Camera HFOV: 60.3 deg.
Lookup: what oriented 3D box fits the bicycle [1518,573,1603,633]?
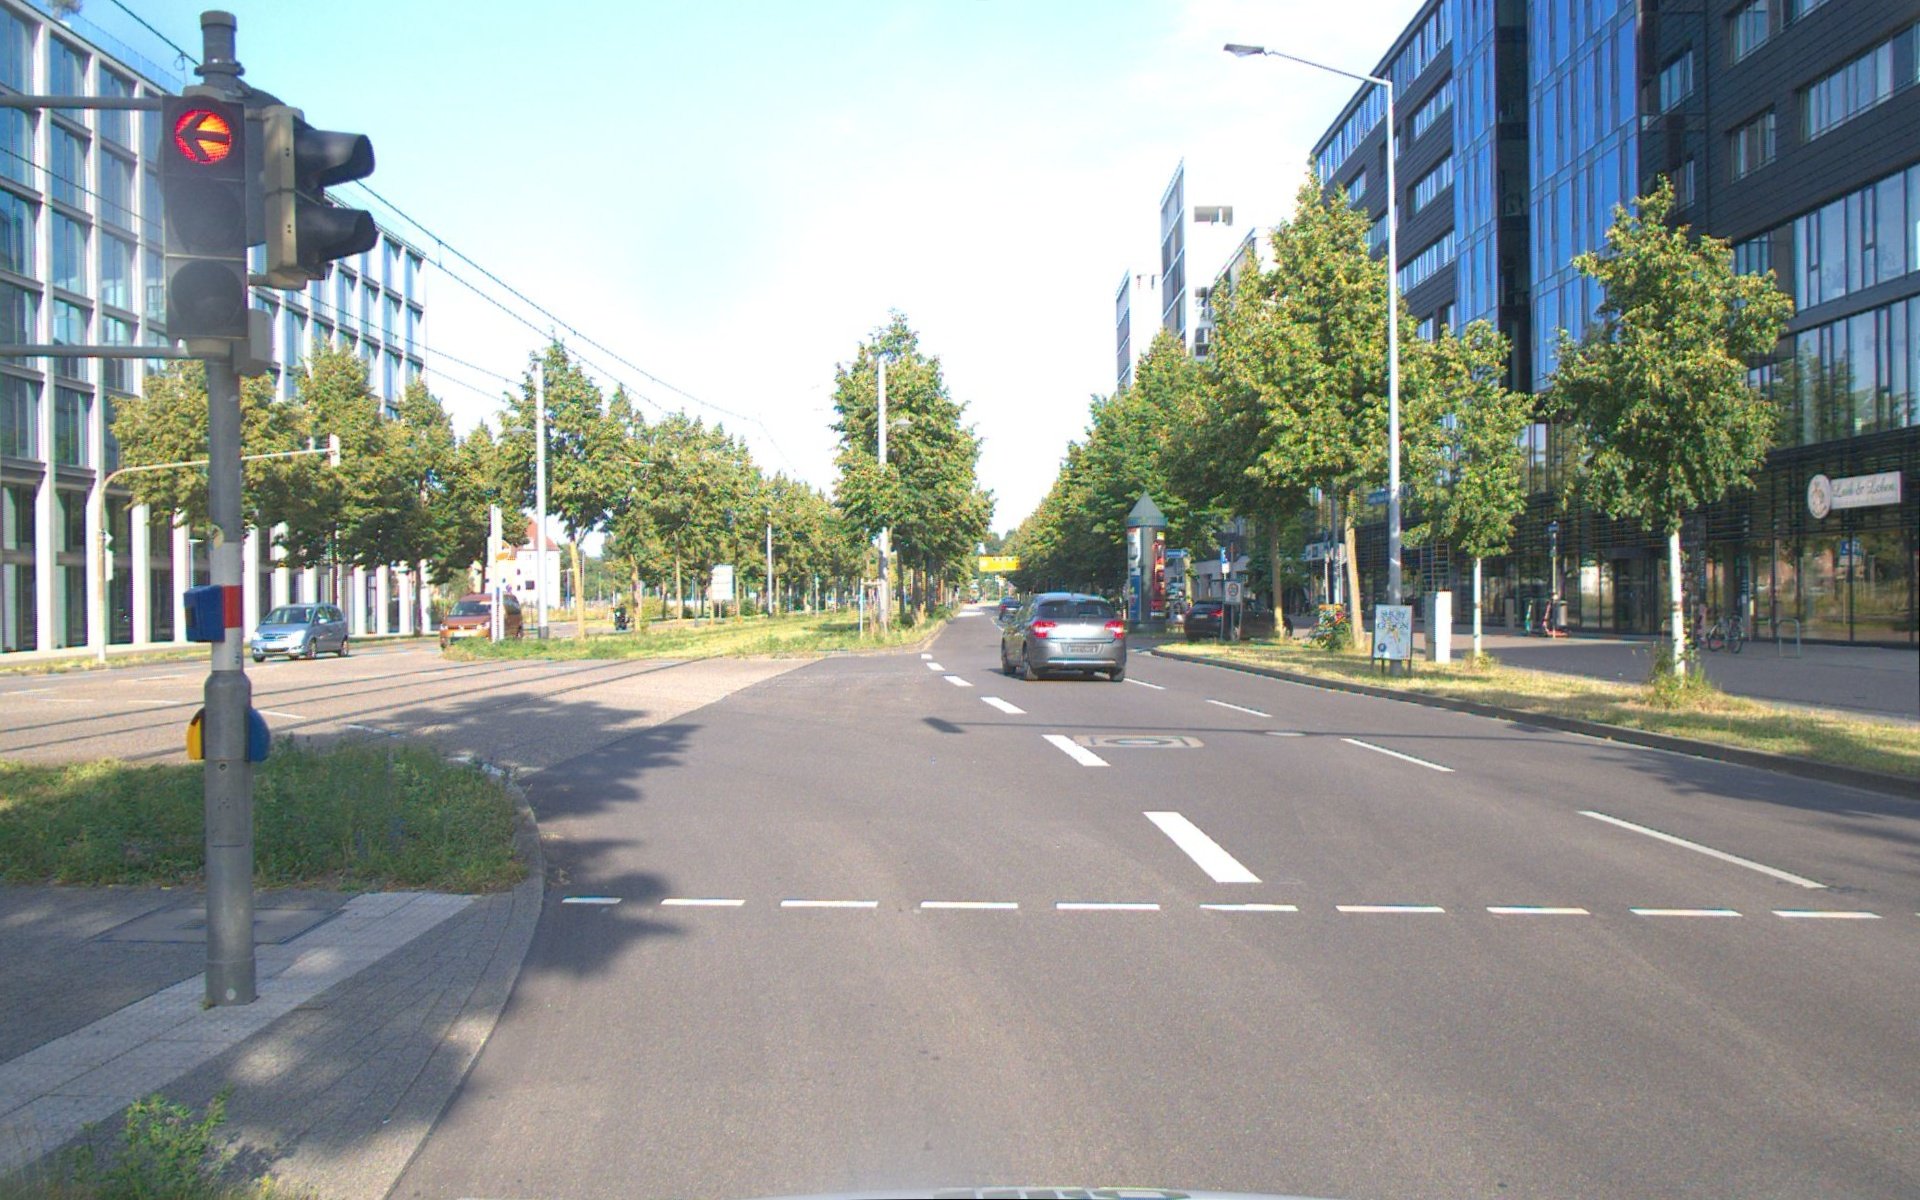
[{"bbox_3d":[19.501,0.104,53.734,2.510,1.890,0.570,1,-1,10],"label":"bicycle"}]

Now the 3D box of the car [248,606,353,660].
[{"bbox_3d":[-18.931,0.909,47.662,1.606,1.468,3.953,1,0,-3],"label":"car"}]

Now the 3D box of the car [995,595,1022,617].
[{"bbox_3d":[3.553,0.464,121.556,1.821,1.551,3.785,1,0,0],"label":"car"}]

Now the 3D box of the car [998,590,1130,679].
[{"bbox_3d":[1.773,0.577,29.363,1.662,1.449,4.034,1,0,-6],"label":"car"}]

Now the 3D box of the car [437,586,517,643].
[{"bbox_3d":[-15.788,0.466,54.274,1.650,1.806,3.880,1,0,-3],"label":"car"}]

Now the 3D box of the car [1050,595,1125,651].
[{"bbox_3d":[3.501,0.601,45.957,1.529,1.449,3.904,1,0,-4],"label":"car"}]

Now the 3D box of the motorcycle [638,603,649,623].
[{"bbox_3d":[-24.315,1.004,127.227,0.464,1.557,1.992,1,0,-1],"label":"motorcycle"}]

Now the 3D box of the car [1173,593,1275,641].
[{"bbox_3d":[8.589,0.554,53.548,1.743,1.449,3.947,1,0,34],"label":"car"}]

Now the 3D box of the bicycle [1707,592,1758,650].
[{"bbox_3d":[18.587,0.507,39.830,0.365,1.370,1.894,1,-1,1],"label":"bicycle"}]

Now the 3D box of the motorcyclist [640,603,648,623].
[{"bbox_3d":[-24.328,0.994,127.365,0.476,1.592,0.455,1,-1,-1],"label":"motorcyclist"}]

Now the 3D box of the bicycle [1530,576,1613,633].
[{"bbox_3d":[19.508,0.133,52.795,2.383,1.776,0.554,1,-1,10],"label":"bicycle"}]
